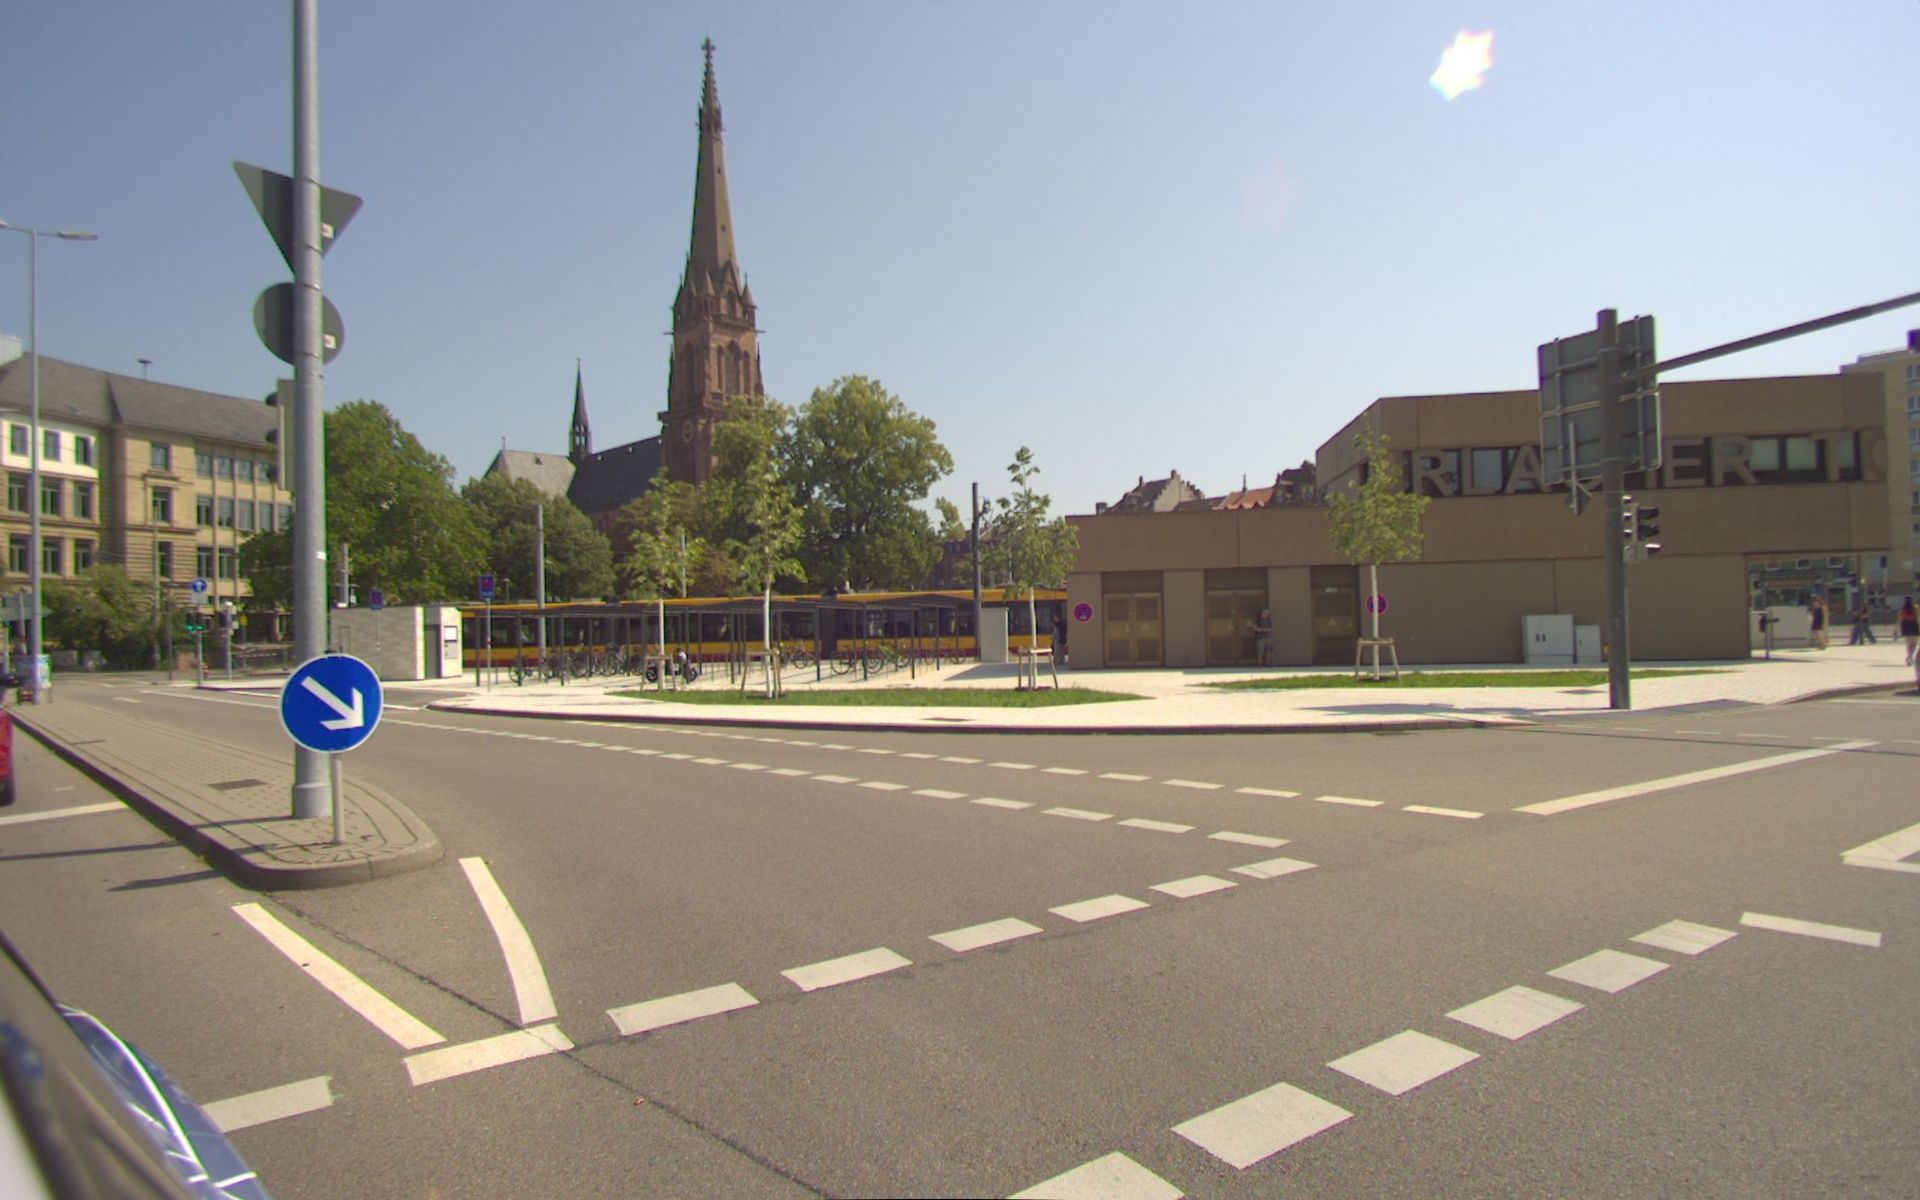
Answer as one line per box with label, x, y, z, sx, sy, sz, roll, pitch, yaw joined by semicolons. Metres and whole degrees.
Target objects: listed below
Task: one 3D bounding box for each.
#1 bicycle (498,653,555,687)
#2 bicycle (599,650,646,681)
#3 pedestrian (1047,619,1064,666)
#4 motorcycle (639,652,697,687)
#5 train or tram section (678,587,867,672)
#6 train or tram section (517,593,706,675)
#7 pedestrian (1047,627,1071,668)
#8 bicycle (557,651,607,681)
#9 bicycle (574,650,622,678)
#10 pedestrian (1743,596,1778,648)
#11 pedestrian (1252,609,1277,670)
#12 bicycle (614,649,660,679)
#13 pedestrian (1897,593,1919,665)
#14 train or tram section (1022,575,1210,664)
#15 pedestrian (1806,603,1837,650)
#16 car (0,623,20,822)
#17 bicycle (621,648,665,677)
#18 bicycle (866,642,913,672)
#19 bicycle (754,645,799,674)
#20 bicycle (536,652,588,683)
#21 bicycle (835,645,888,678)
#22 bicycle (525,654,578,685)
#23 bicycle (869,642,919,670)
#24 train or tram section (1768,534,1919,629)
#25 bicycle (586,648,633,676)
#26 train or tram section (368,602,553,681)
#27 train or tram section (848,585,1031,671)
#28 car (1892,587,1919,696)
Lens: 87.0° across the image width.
bicycle;-14.907;2.397;34.802;1.845;1.090;0.525;-2;-2;11
bicycle;-12.275;2.373;36.761;1.623;1.048;0.411;-2;-2;11
pedestrian;3.493;1.566;37.026;0.562;1.691;0.443;-2;-2;8
motorcycle;-9.419;2.244;32.605;1.761;1.077;0.489;-2;-2;12
train or tram section;-9.065;1.488;49.382;8.429;3.625;3.153;-3;-3;9
train or tram section;-17.375;1.726;50.717;8.429;3.625;3.153;-3;-3;9
pedestrian;3.442;1.652;35.220;0.668;1.421;0.438;-3;-2;43
bicycle;-14.306;2.498;38.282;1.751;1.048;0.525;-2;-2;11
bicycle;-14.167;2.497;39.619;1.751;1.048;0.525;-2;-2;11
pedestrian;27.951;0.779;35.340;0.543;1.776;0.698;-1;-2;-5
pedestrian;8.541;1.110;28.399;0.530;1.691;0.567;-2;-2;8
bicycle;-12.056;2.392;37.739;1.623;1.048;0.411;-2;-2;11
pedestrian;23.030;0.694;24.273;0.774;1.715;0.629;0;-2;-35
train or tram section;7.126;0.984;46.820;8.149;3.597;3.136;-3;-3;9
pedestrian;28.642;0.874;33.652;0.565;1.550;0.490;-2;-2;8
car;-9.876;1.117;9.107;4.000;1.627;1.819;-4;-2;44
bicycle;-12.282;2.422;39.249;1.623;1.048;0.411;-2;-2;11
bicycle;-2.599;2.101;37.446;1.709;1.048;0.514;-2;-2;-4
bicycle;-6.943;2.248;38.383;1.623;1.048;0.411;-2;-2;11
bicycle;-14.415;2.433;36.645;1.751;1.048;0.525;-2;-2;11
bicycle;-3.326;2.053;34.104;1.711;1.048;0.513;-2;-2;2
bicycle;-14.517;2.461;35.947;1.751;1.048;0.525;-2;-2;11
bicycle;-2.548;2.152;39.042;1.835;0.993;0.512;-2;-2;7
train or tram section;39.188;-0.800;41.931;8.149;3.597;3.136;-3;-3;9
bicycle;-14.108;2.489;40.777;1.751;1.048;0.525;-2;-2;11
train or tram section;-25.591;2.159;52.012;8.233;3.588;3.129;-3;-3;9
train or tram section;-0.899;1.382;48.074;8.152;3.625;3.153;-3;-3;9
car;18.707;0.632;17.841;4.259;1.874;2.006;-1;-4;-29
